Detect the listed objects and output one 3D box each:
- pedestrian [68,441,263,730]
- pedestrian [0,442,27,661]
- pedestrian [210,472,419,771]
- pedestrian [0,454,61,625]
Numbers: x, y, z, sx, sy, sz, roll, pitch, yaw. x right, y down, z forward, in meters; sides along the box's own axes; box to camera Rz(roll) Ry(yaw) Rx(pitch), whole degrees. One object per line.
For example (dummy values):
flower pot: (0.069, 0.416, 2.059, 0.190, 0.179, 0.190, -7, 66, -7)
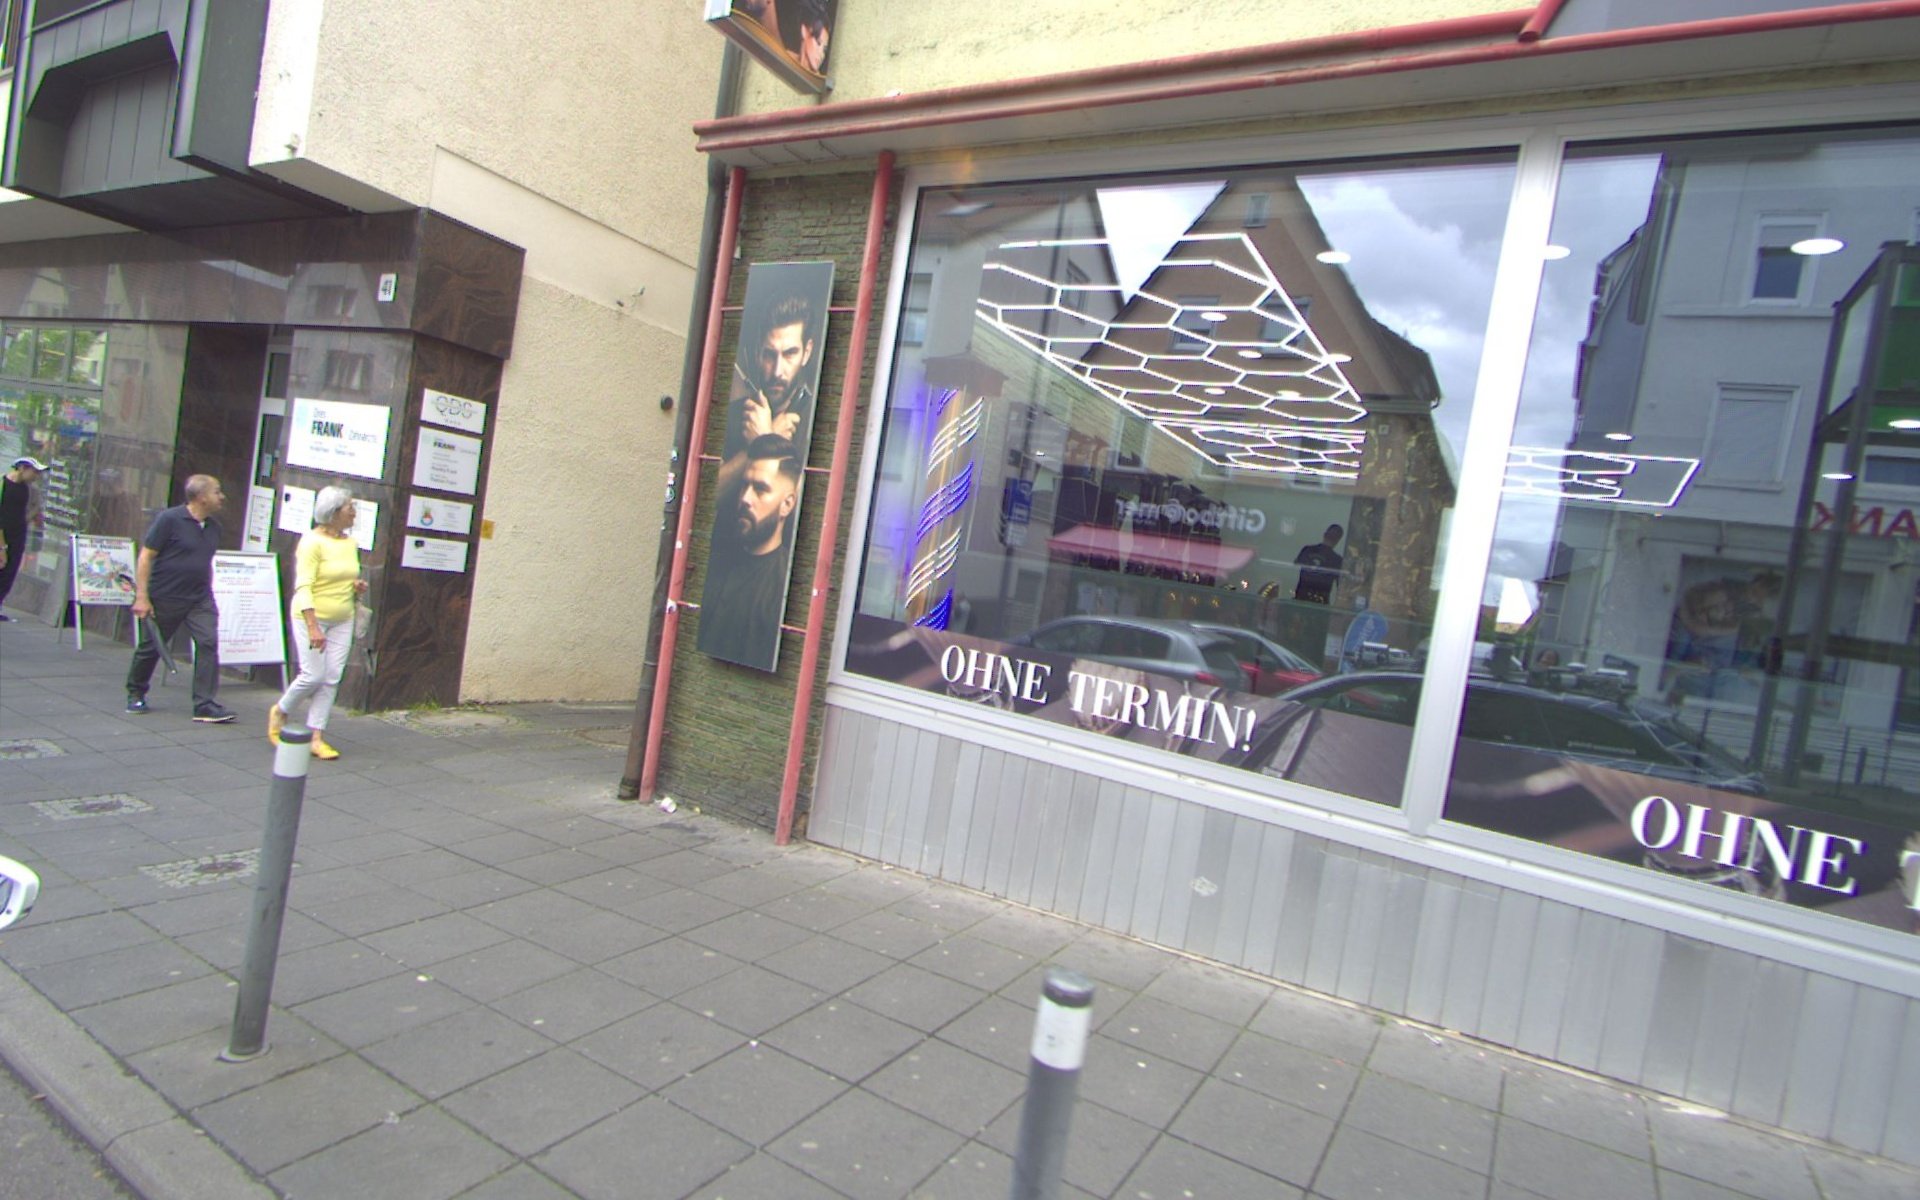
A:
pedestrian: (-5.296, -0.101, 6.715, 0.772, 1.776, 0.711, 7, 3, 31)
pedestrian: (-8.230, -0.430, 8.161, 0.774, 1.776, 0.711, 7, 3, 31)
pedestrian: (-3.939, 0.108, 6.150, 0.821, 1.653, 0.711, 7, 3, 31)
pedestrian: (-9.792, -0.632, 10.317, 0.533, 1.713, 0.663, 7, 4, 25)
